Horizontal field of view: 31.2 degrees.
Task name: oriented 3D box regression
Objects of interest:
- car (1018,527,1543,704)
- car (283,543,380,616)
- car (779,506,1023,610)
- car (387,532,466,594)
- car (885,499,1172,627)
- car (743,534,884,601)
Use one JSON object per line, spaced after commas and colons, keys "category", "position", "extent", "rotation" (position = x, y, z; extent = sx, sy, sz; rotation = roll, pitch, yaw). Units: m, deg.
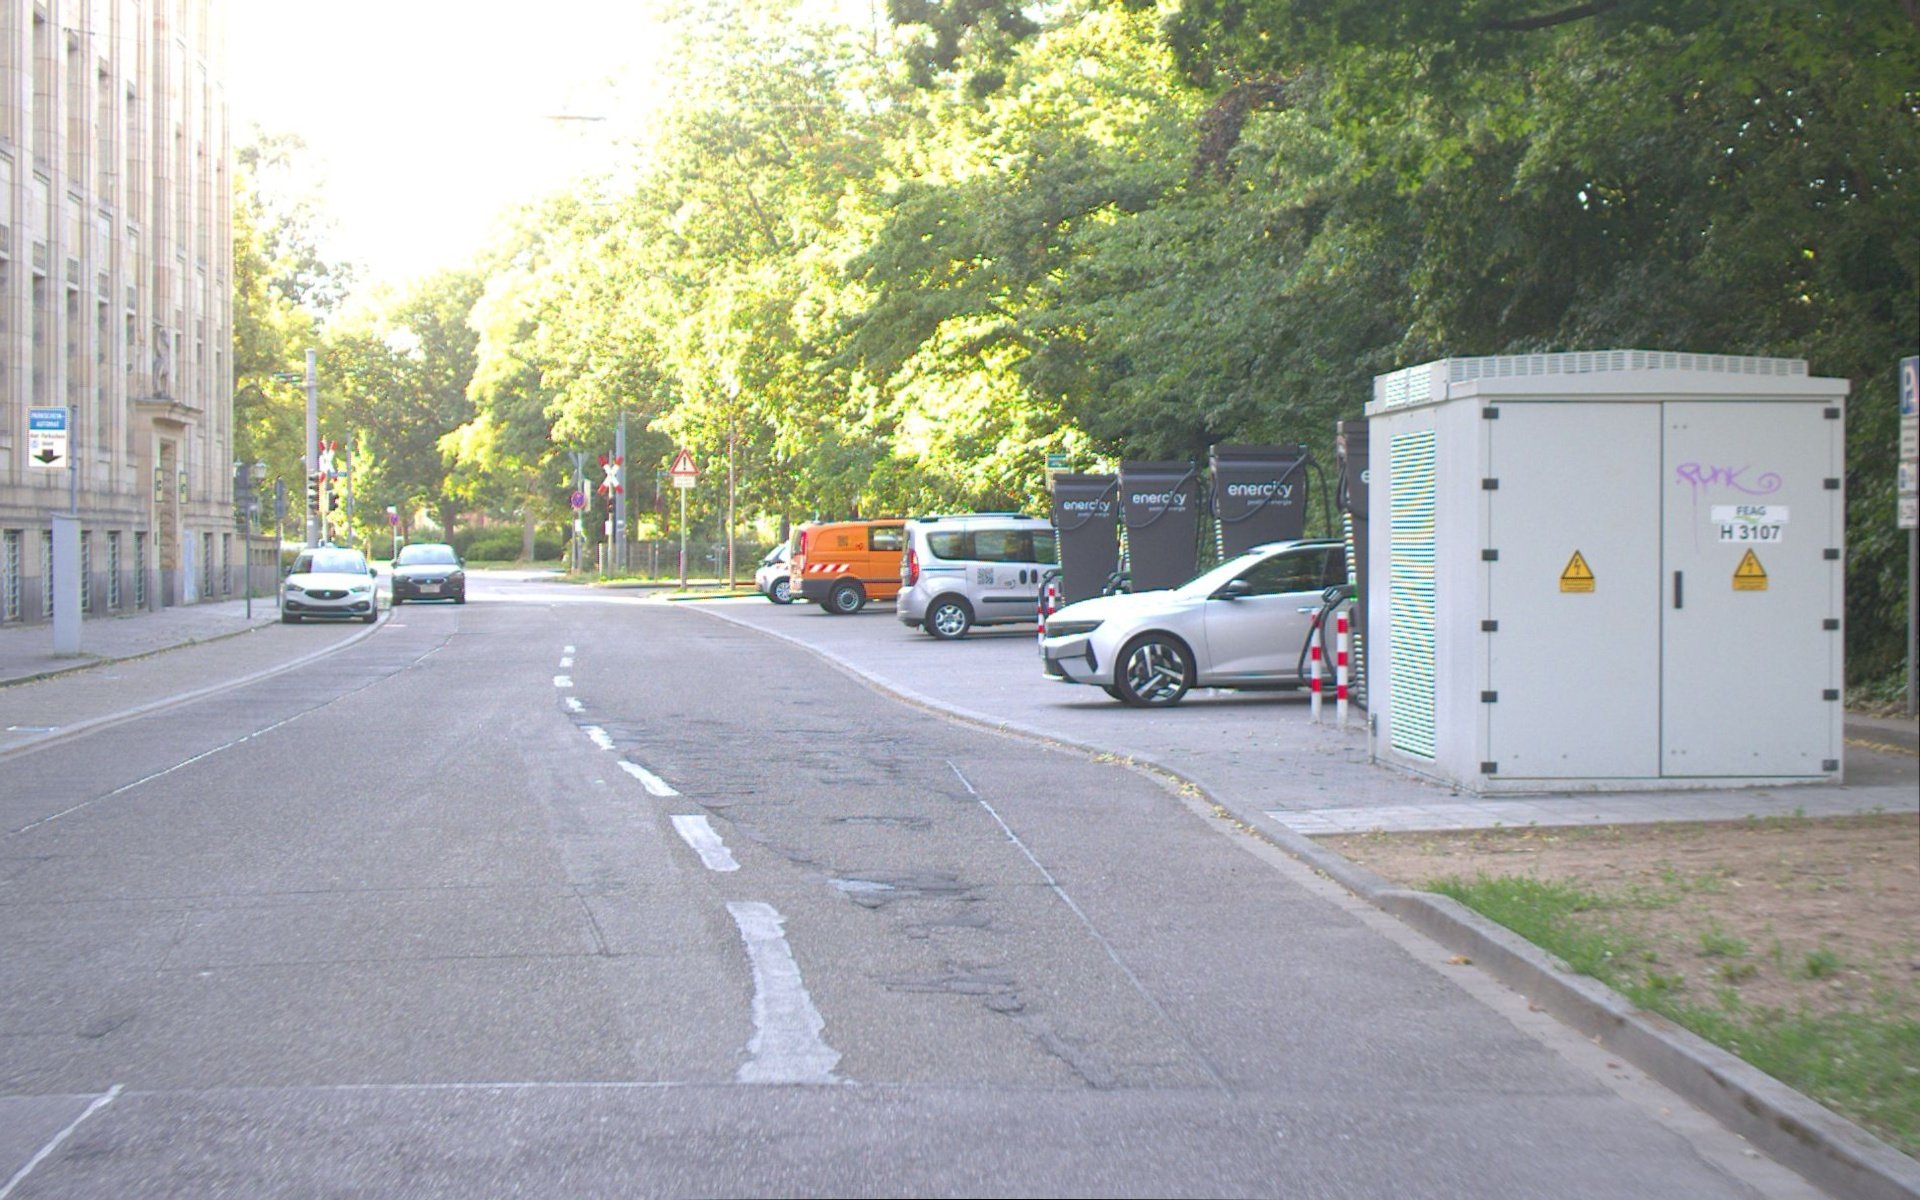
{"category": "car", "position": [2.851, 0.115, 31.114], "extent": [4.440, 1.464, 1.783], "rotation": [-1, 1, -6]}
{"category": "car", "position": [-12.402, -0.433, 68.033], "extent": [1.727, 1.392, 4.374], "rotation": [0, 1, -8]}
{"category": "car", "position": [-1.251, -0.891, 72.340], "extent": [4.817, 2.007, 1.803], "rotation": [-2, 1, -12]}
{"category": "car", "position": [-13.215, -0.936, 85.286], "extent": [1.878, 1.461, 4.374], "rotation": [0, 1, -8]}
{"category": "car", "position": [1.027, -0.577, 53.224], "extent": [4.228, 1.853, 2.000], "rotation": [-1, 1, -4]}
{"category": "car", "position": [-3.543, -0.783, 82.764], "extent": [3.143, 1.498, 1.541], "rotation": [-2, 1, -12]}
